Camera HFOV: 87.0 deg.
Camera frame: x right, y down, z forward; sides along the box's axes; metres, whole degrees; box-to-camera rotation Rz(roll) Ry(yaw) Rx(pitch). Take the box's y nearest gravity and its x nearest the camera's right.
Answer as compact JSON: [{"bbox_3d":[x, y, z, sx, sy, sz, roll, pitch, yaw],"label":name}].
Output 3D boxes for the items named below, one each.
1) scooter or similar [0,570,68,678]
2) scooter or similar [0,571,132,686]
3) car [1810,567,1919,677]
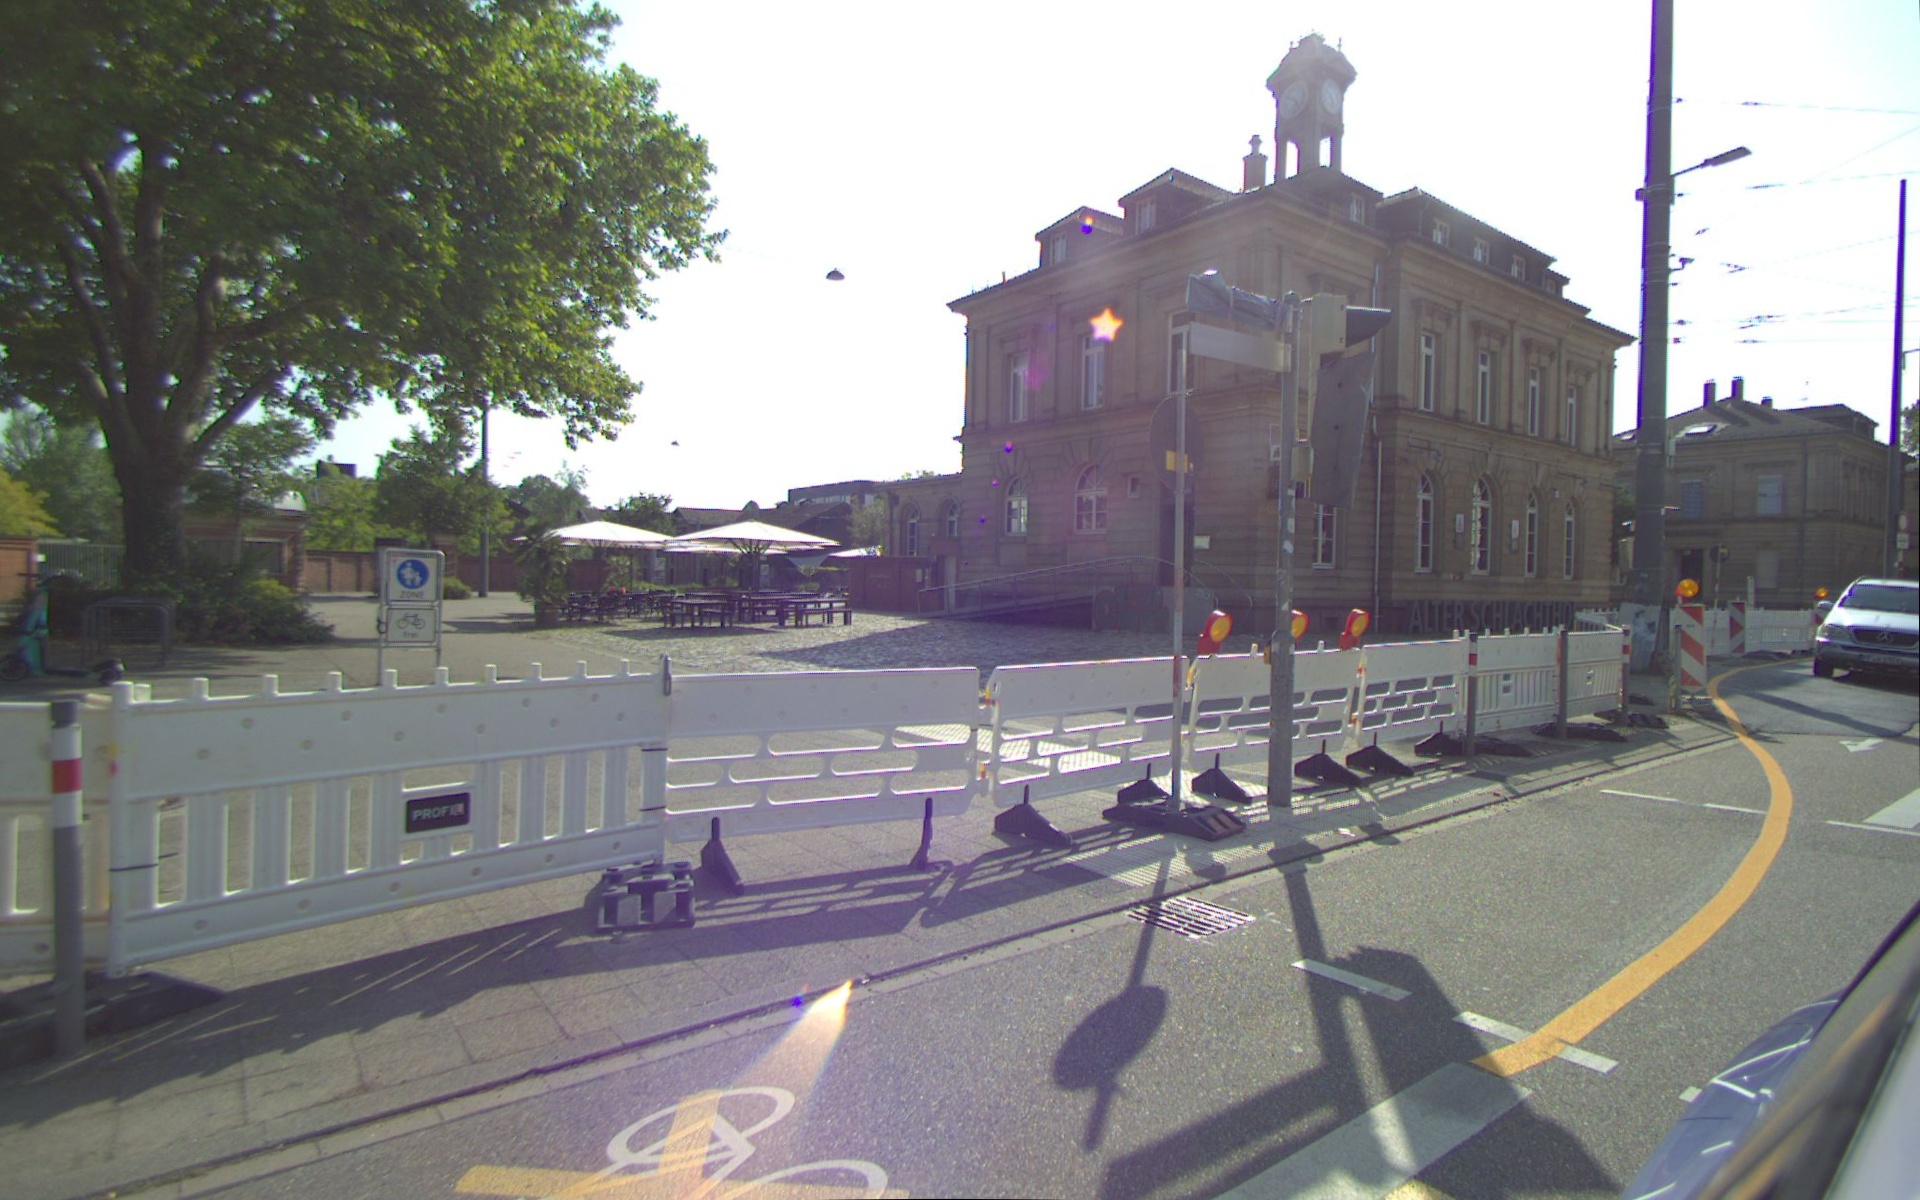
[{"bbox_3d":[-11.494,0.276,12.402,1.244,1.225,0.418,3,1,29],"label":"scooter or similar"},{"bbox_3d":[-10.238,0.318,11.468,1.229,1.225,0.423,3,1,-14],"label":"scooter or similar"},{"bbox_3d":[16.777,0.329,18.061,1.995,1.716,5.141,3,3,45],"label":"car"}]
